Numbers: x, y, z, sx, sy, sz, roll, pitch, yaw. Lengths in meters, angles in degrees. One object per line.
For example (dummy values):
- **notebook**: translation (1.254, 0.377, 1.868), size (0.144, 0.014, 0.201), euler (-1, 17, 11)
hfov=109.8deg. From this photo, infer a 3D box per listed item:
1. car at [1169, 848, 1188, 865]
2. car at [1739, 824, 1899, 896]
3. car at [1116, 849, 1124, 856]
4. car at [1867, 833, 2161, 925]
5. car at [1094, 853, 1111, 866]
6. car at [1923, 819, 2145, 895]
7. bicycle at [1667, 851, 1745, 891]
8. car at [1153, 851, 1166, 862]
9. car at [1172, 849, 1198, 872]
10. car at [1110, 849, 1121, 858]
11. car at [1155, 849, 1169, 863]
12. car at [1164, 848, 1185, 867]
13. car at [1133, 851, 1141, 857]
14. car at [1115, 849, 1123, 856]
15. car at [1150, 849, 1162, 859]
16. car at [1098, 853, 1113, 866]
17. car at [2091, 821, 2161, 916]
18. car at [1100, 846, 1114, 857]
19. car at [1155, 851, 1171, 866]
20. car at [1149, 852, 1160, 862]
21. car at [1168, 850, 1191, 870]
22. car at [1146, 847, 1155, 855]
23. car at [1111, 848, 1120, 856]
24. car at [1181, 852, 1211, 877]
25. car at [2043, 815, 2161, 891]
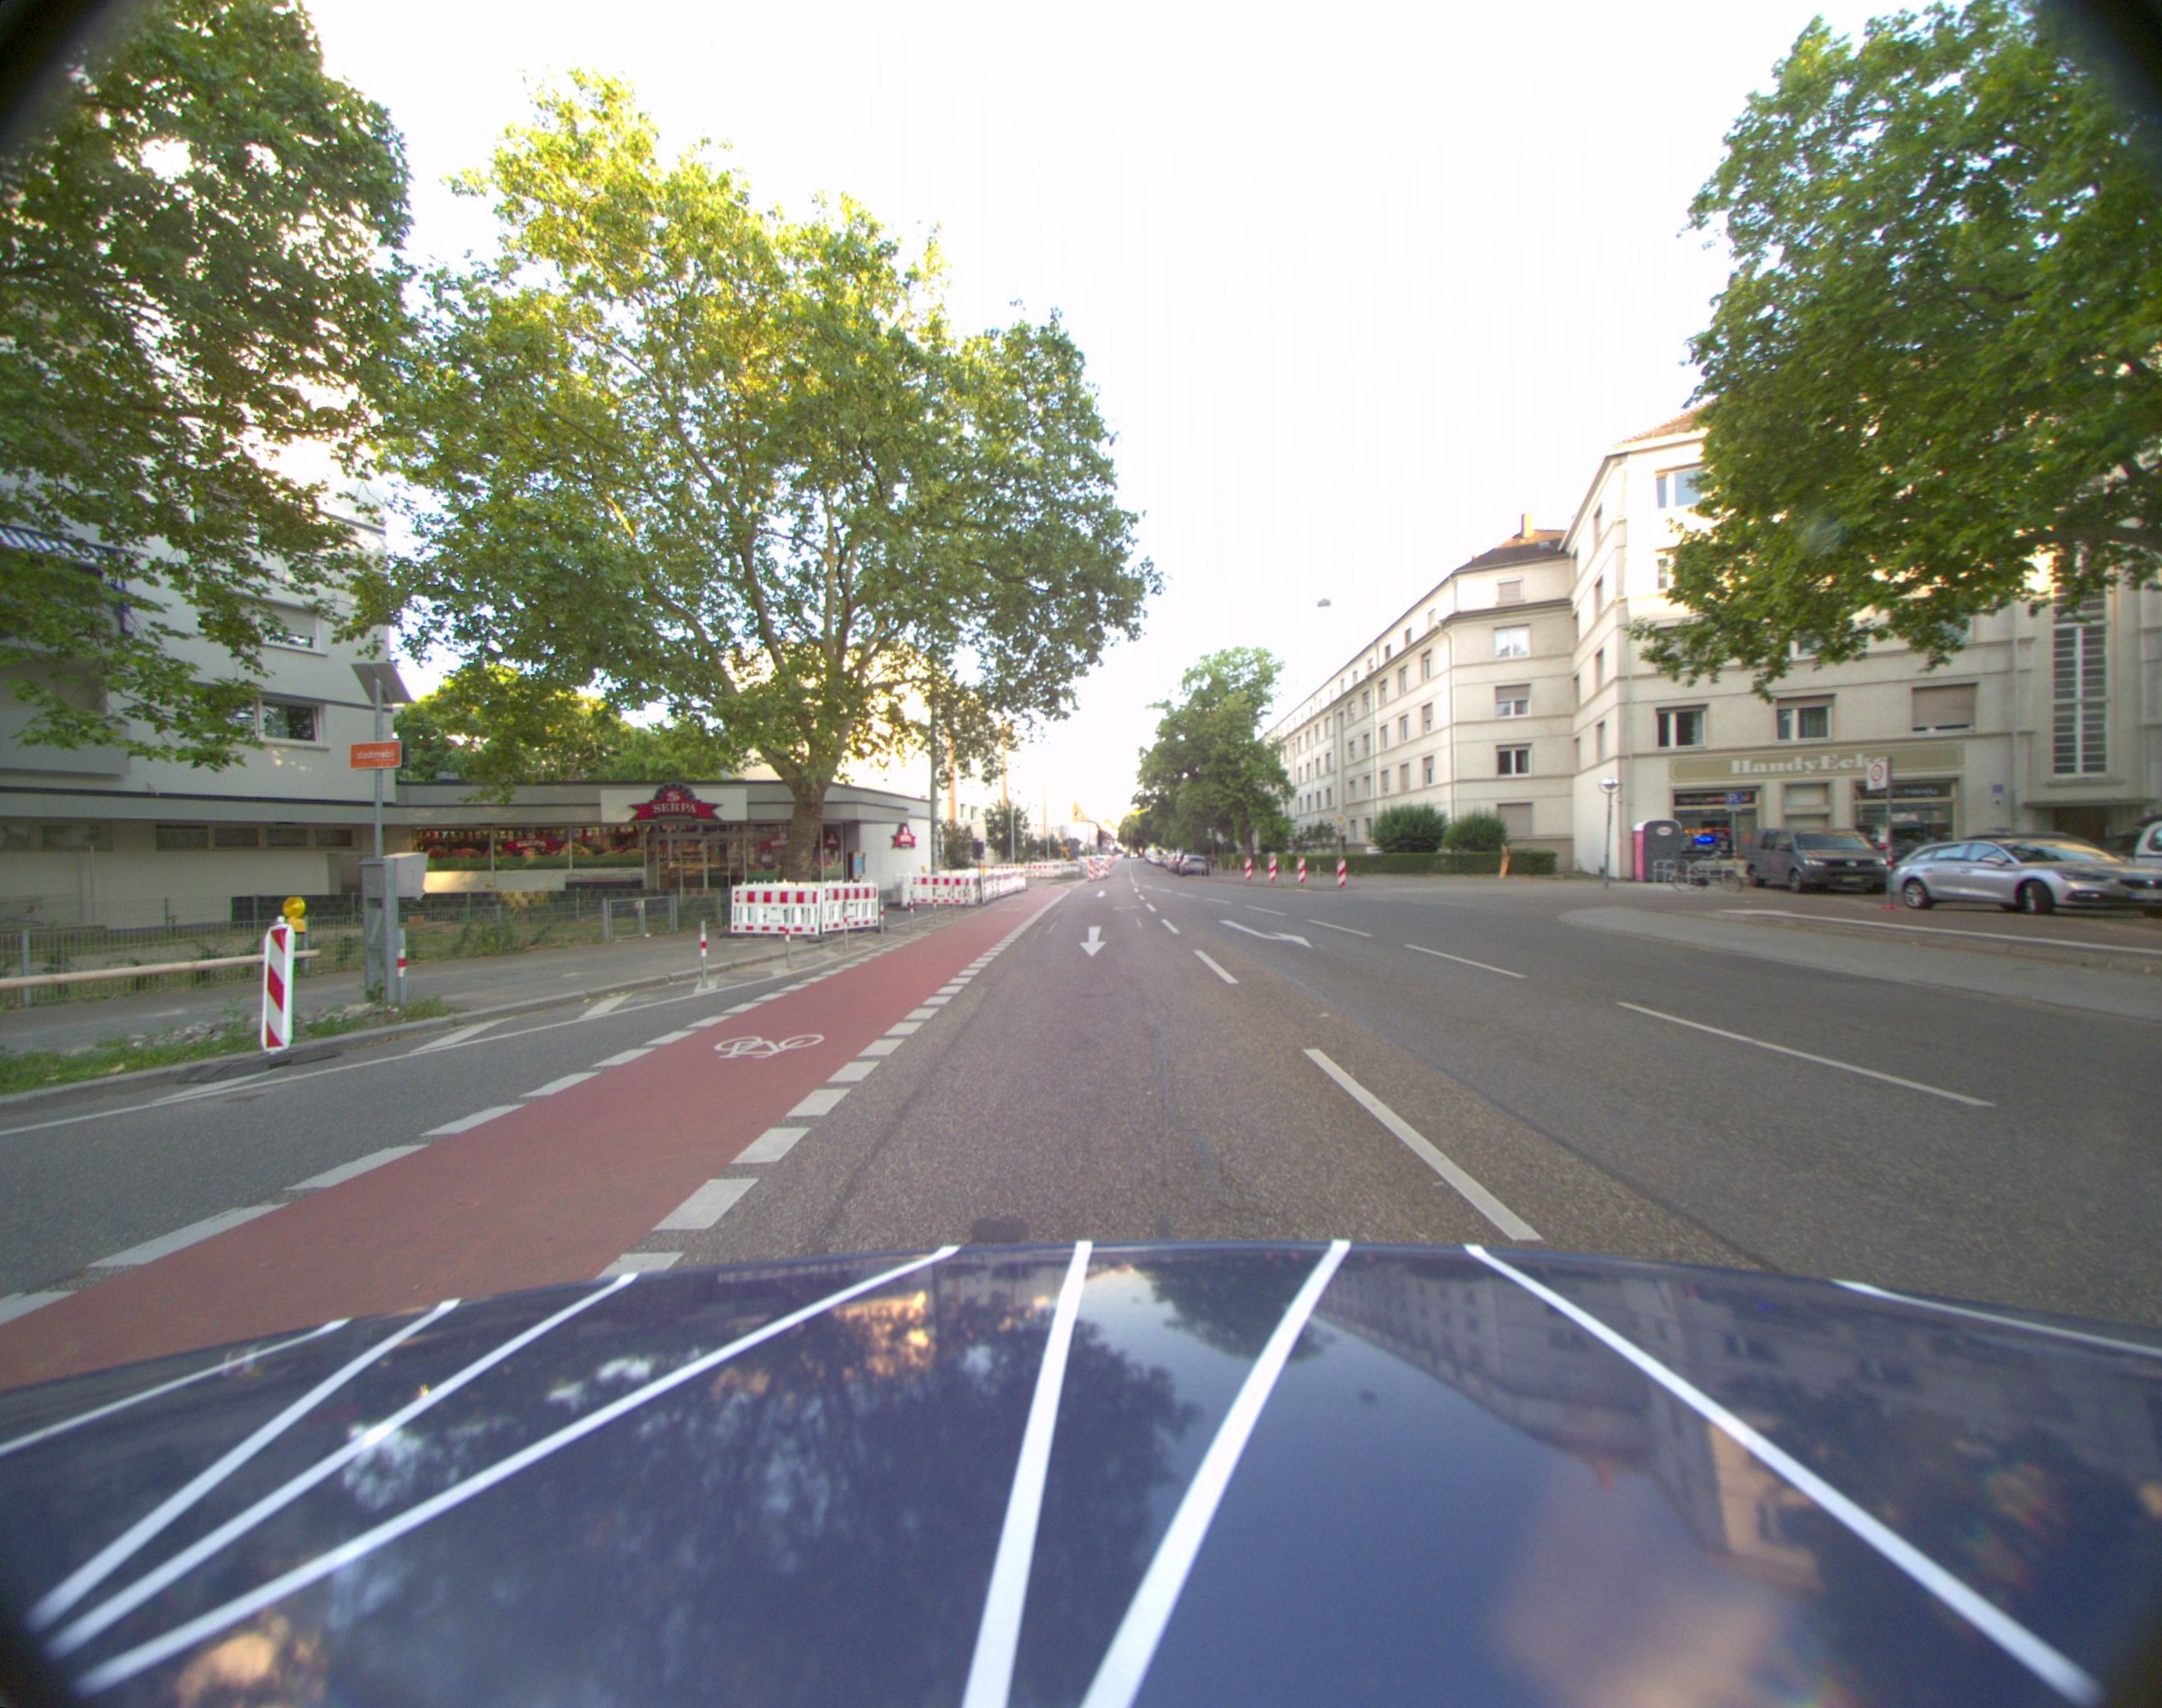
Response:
- **car**: translation (10.352, 0.245, 80.915), size (1.892, 1.591, 4.260), euler (-2, 1, 6)
- **car**: translation (22.611, 0.083, 23.556), size (1.995, 1.945, 4.646), euler (0, 3, 23)
- **car**: translation (10.547, -0.424, 205.857), size (1.892, 1.591, 4.260), euler (-2, 1, 6)
- **car**: translation (18.131, 0.437, 14.675), size (1.996, 1.494, 4.647), euler (0, -1, 15)
- **car**: translation (2.878, 0.693, 101.036), size (1.892, 1.591, 4.260), euler (-2, 1, 6)
- **car**: translation (27.117, -0.019, 21.919), size (1.995, 1.945, 4.646), euler (0, 3, 23)
- **bicycle**: translation (19.400, 0.531, 23.615), size (1.802, 1.199, 0.648), euler (-1, 2, 33)
- **car**: translation (12.111, 0.411, 117.875), size (1.892, 1.591, 4.260), euler (-2, 1, 6)
- **car**: translation (8.421, 0.475, 62.044), size (1.892, 1.681, 4.260), euler (-2, 1, 6)
- **car**: translation (7.144, -0.126, 156.216), size (1.892, 1.591, 4.260), euler (-2, 1, 6)
- **car**: translation (11.541, 0.253, 108.203), size (1.892, 1.855, 4.260), euler (-2, 1, 6)
- **car**: translation (9.275, 0.303, 75.411), size (1.892, 1.764, 4.260), euler (-2, 1, 6)
- **car**: translation (16.102, 0.001, 219.885), size (1.998, 1.838, 3.999), euler (-2, 1, 0)
- **car**: translation (9.757, -0.334, 196.470), size (1.892, 1.591, 4.260), euler (-2, 1, 6)
- **car**: translation (13.125, 0.072, 132.797), size (1.892, 1.591, 4.260), euler (-2, 1, 6)
- **car**: translation (3.687, 0.860, 113.323), size (1.892, 1.726, 4.260), euler (-2, 1, 6)
- **car**: translation (20.717, 0.261, 12.994), size (1.995, 1.771, 4.648), euler (0, -1, 21)
- **car**: translation (4.175, -0.424, 121.835), size (1.892, 1.651, 4.260), euler (-2, 1, 6)
- **car**: translation (10.691, 0.586, 99.238), size (1.892, 1.815, 4.260), euler (-2, 1, 6)
- **car**: translation (13.858, 0.544, 143.216), size (1.892, 1.868, 4.946), euler (-2, 1, 6)
- **car**: translation (9.004, 0.519, 69.465), size (1.892, 1.591, 4.260), euler (-2, 1, 6)
- **car**: translation (15.186, -0.587, 166.080), size (1.892, 1.591, 4.260), euler (-2, 1, 6)
- **car**: translation (8.479, -0.490, 184.835), size (1.892, 1.591, 4.260), euler (-2, 1, 6)
- **car**: translation (8.126, 0.723, 54.003), size (1.892, 1.591, 4.001), euler (-2, 1, 6)
- **car**: translation (29.615, -0.094, 20.831), size (1.995, 1.945, 4.646), euler (0, 3, 23)
